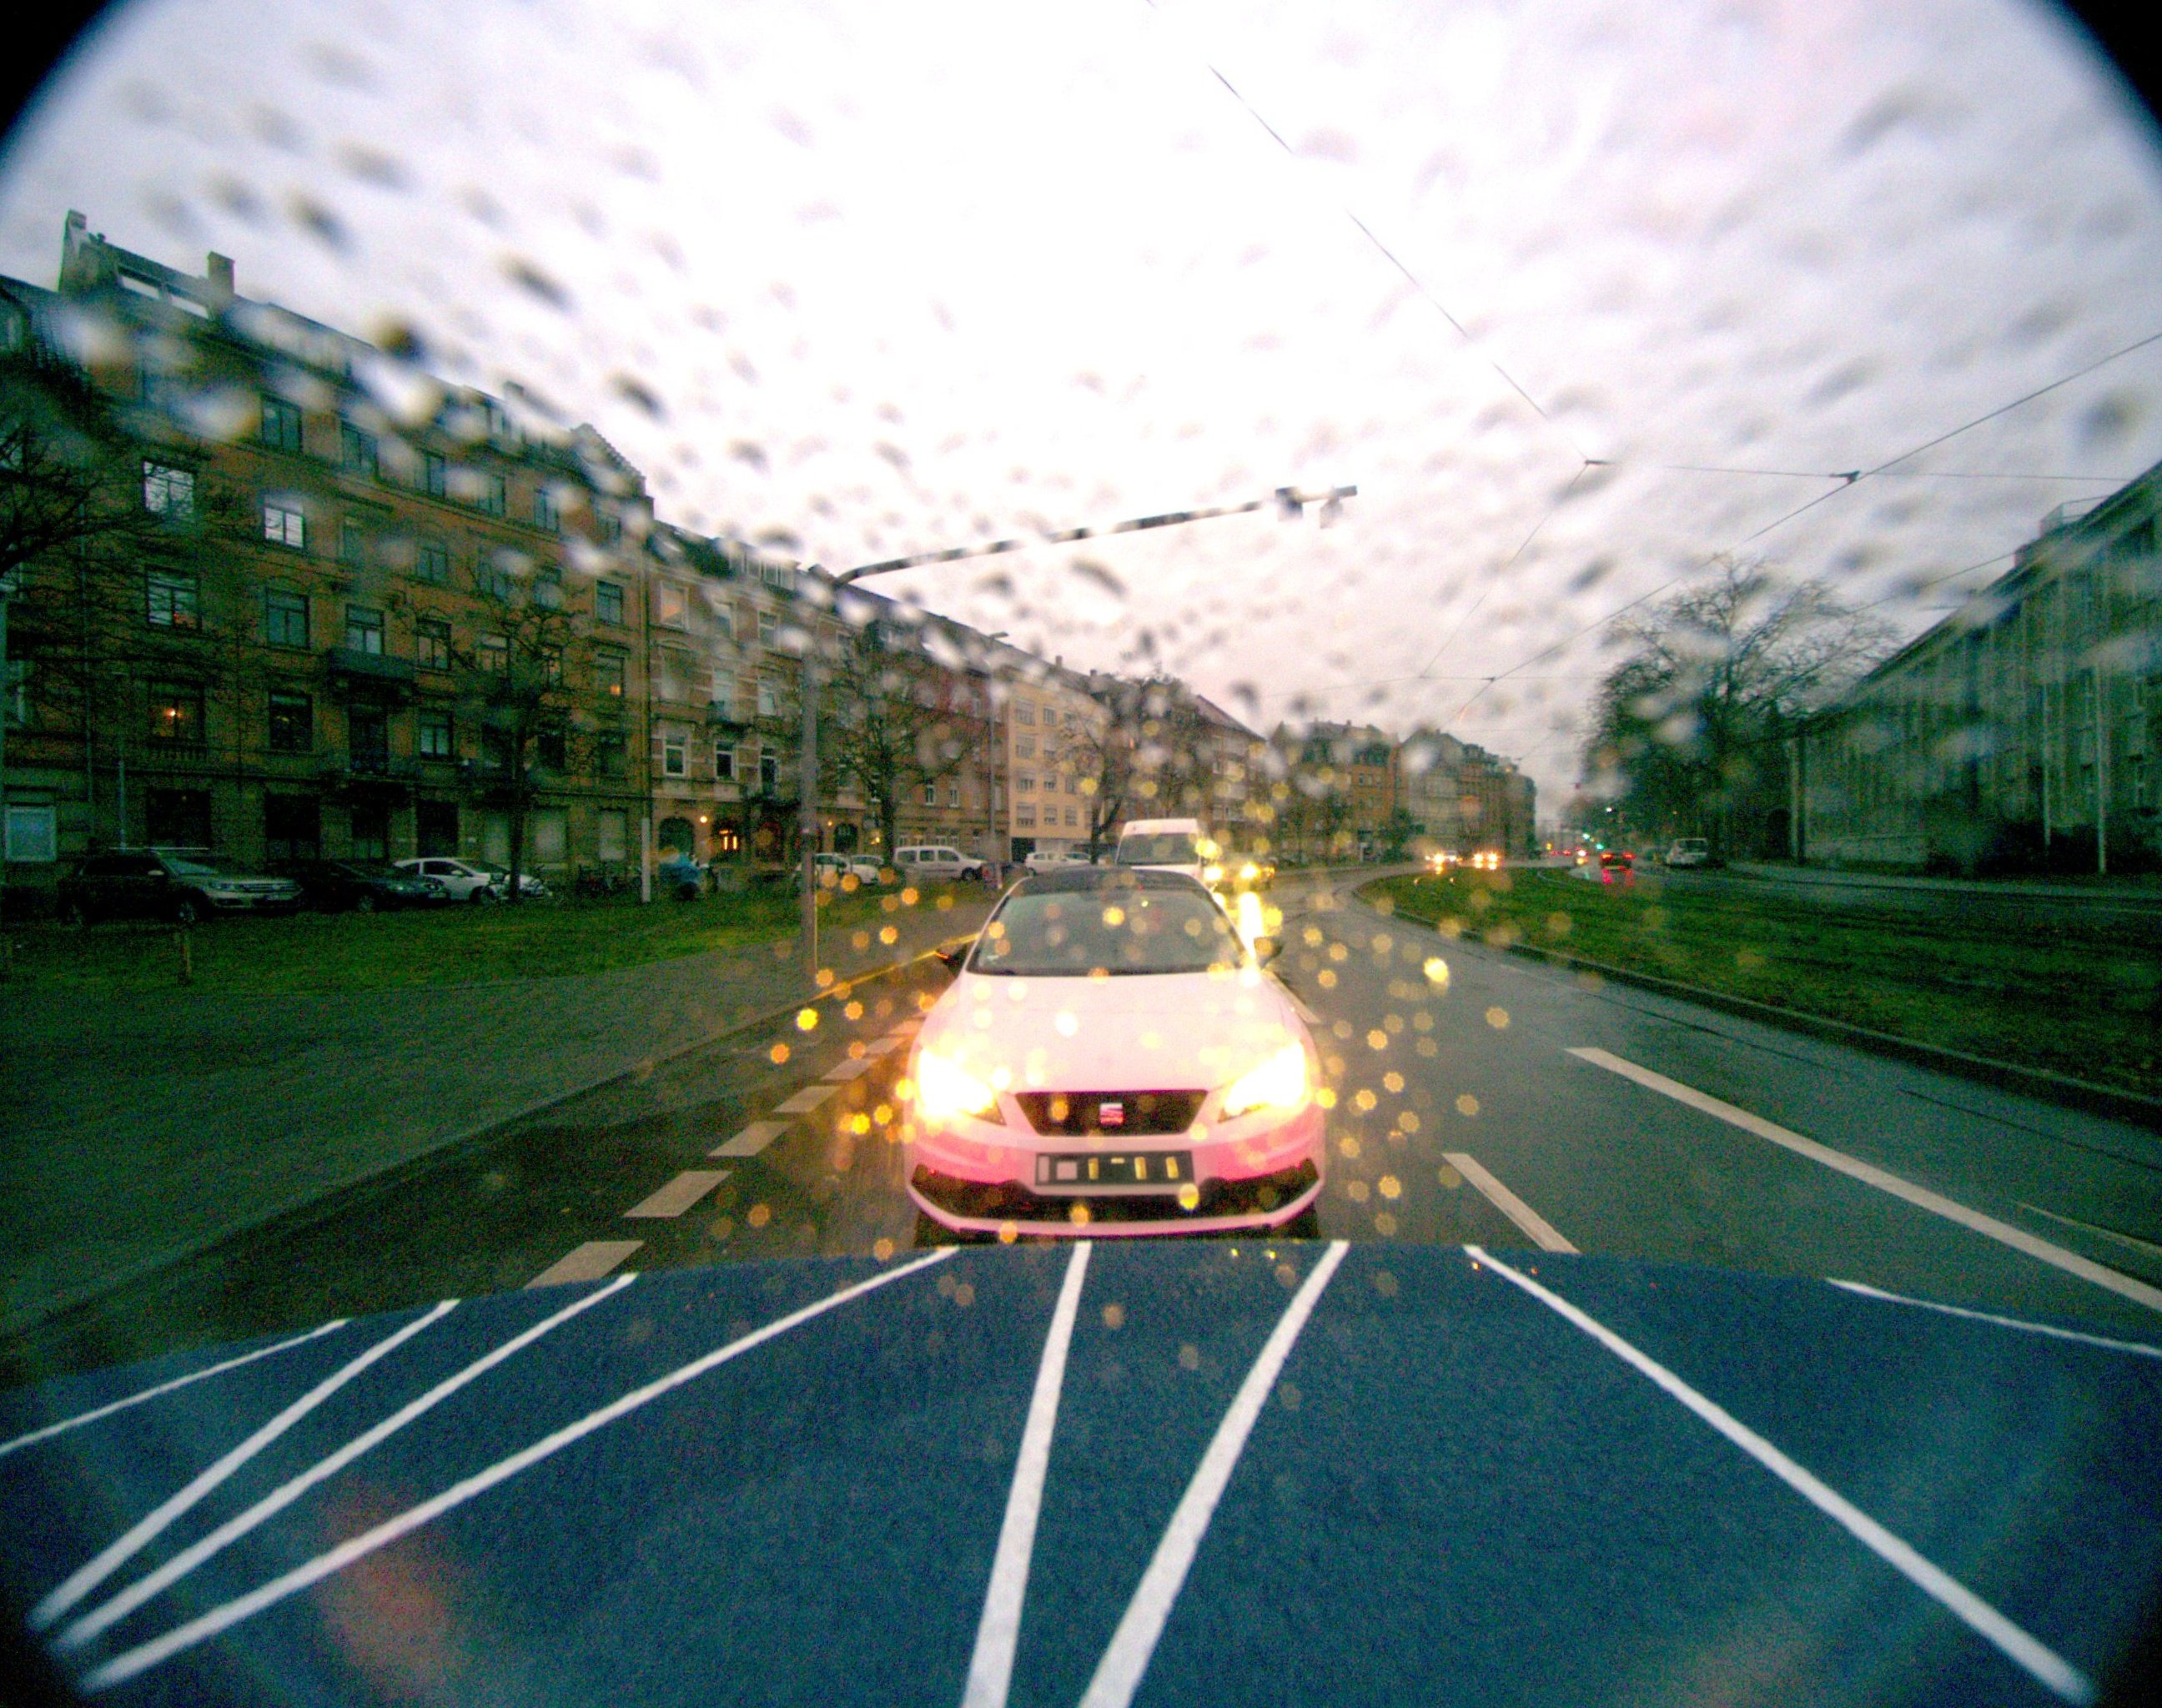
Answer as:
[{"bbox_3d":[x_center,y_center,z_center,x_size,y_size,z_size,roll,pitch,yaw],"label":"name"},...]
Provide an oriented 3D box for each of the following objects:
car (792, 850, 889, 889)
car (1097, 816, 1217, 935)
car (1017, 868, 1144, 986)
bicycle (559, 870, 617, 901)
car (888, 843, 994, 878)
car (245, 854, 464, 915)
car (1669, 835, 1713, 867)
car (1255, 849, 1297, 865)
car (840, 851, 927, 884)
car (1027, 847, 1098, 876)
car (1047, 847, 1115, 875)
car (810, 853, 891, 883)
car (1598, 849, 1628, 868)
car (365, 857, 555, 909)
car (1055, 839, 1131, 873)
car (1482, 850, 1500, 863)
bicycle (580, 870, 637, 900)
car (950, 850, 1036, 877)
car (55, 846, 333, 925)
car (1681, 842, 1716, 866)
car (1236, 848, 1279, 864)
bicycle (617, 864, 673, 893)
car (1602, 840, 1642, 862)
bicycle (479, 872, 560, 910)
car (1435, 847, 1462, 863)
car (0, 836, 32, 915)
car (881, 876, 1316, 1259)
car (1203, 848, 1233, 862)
[{"bbox_3d":[-9.981,0.645,31.674,3.462,1.435,1.615,-2,0,6],"label":"car"},{"bbox_3d":[2.032,0.447,18.216,2.127,2.366,5.644,-2,0,13],"label":"car"},{"bbox_3d":[0.101,0.957,11.199,1.589,1.418,3.135,-1,0,4],"label":"car"},{"bbox_3d":[-16.172,1.041,24.915,2.165,0.960,0.627,-2,-2,28],"label":"bicycle"},{"bbox_3d":[-6.676,0.312,36.518,4.659,1.583,1.778,1,1,3],"label":"car"},{"bbox_3d":[-17.923,0.736,18.877,3.742,1.346,1.677,-2,-1,-2],"label":"car"},{"bbox_3d":[41.818,-0.225,52.180,1.995,2.002,4.518,-3,0,35],"label":"car"},{"bbox_3d":[18.514,0.245,72.300,3.760,1.346,1.603,-3,0,11],"label":"car"},{"bbox_3d":[-8.818,0.612,34.133,3.430,1.343,1.664,-2,0,2],"label":"car"},{"bbox_3d":[-1.031,0.416,43.718,3.770,1.424,1.762,-3,0,9],"label":"car"},{"bbox_3d":[-0.018,0.415,45.815,3.998,1.406,1.641,-3,0,-2],"label":"car"},{"bbox_3d":[-12.650,0.748,41.948,1.733,1.492,4.058,-3,-1,32],"label":"car"},{"bbox_3d":[47.194,0.381,67.378,1.822,1.426,4.664,-3,0,39],"label":"car"},{"bbox_3d":[-17.229,0.775,21.212,3.856,1.329,1.698,-1,0,-1],"label":"car"},{"bbox_3d":[0.727,0.153,48.520,4.720,1.971,1.799,-2,0,-2],"label":"car"},{"bbox_3d":[48.075,0.319,89.207,1.836,1.477,3.528,-1,0,28],"label":"car"},{"bbox_3d":[-15.851,1.054,25.499,2.165,0.960,0.627,-2,-2,28],"label":"bicycle"},{"bbox_3d":[-4.443,0.462,38.649,4.058,1.227,1.771,1,0,6],"label":"car"},{"bbox_3d":[-19.448,0.639,16.792,3.996,1.627,1.944,0,1,4],"label":"car"},{"bbox_3d":[39.313,-0.006,48.384,1.557,1.420,2.960,-1,1,36],"label":"car"},{"bbox_3d":[16.059,0.178,69.241,3.760,1.346,1.603,-3,0,11],"label":"car"},{"bbox_3d":[-15.129,0.828,26.341,2.165,0.960,0.627,0,1,28],"label":"bicycle"},{"bbox_3d":[38.246,-0.227,53.839,1.658,1.392,4.531,-3,0,28],"label":"car"},{"bbox_3d":[-14.430,0.939,19.559,1.655,0.931,0.513,0,0,-35],"label":"bicycle"},{"bbox_3d":[32.945,0.074,68.076,1.892,1.405,3.954,-1,0,31],"label":"car"},{"bbox_3d":[-29.103,0.555,17.927,1.994,2.002,4.997,1,1,34],"label":"car"},{"bbox_3d":[0.150,0.938,4.954,1.714,1.404,3.680,-3,0,3],"label":"car"},{"bbox_3d":[14.528,0.093,80.451,1.470,1.534,3.880,0,1,38],"label":"car"}]
